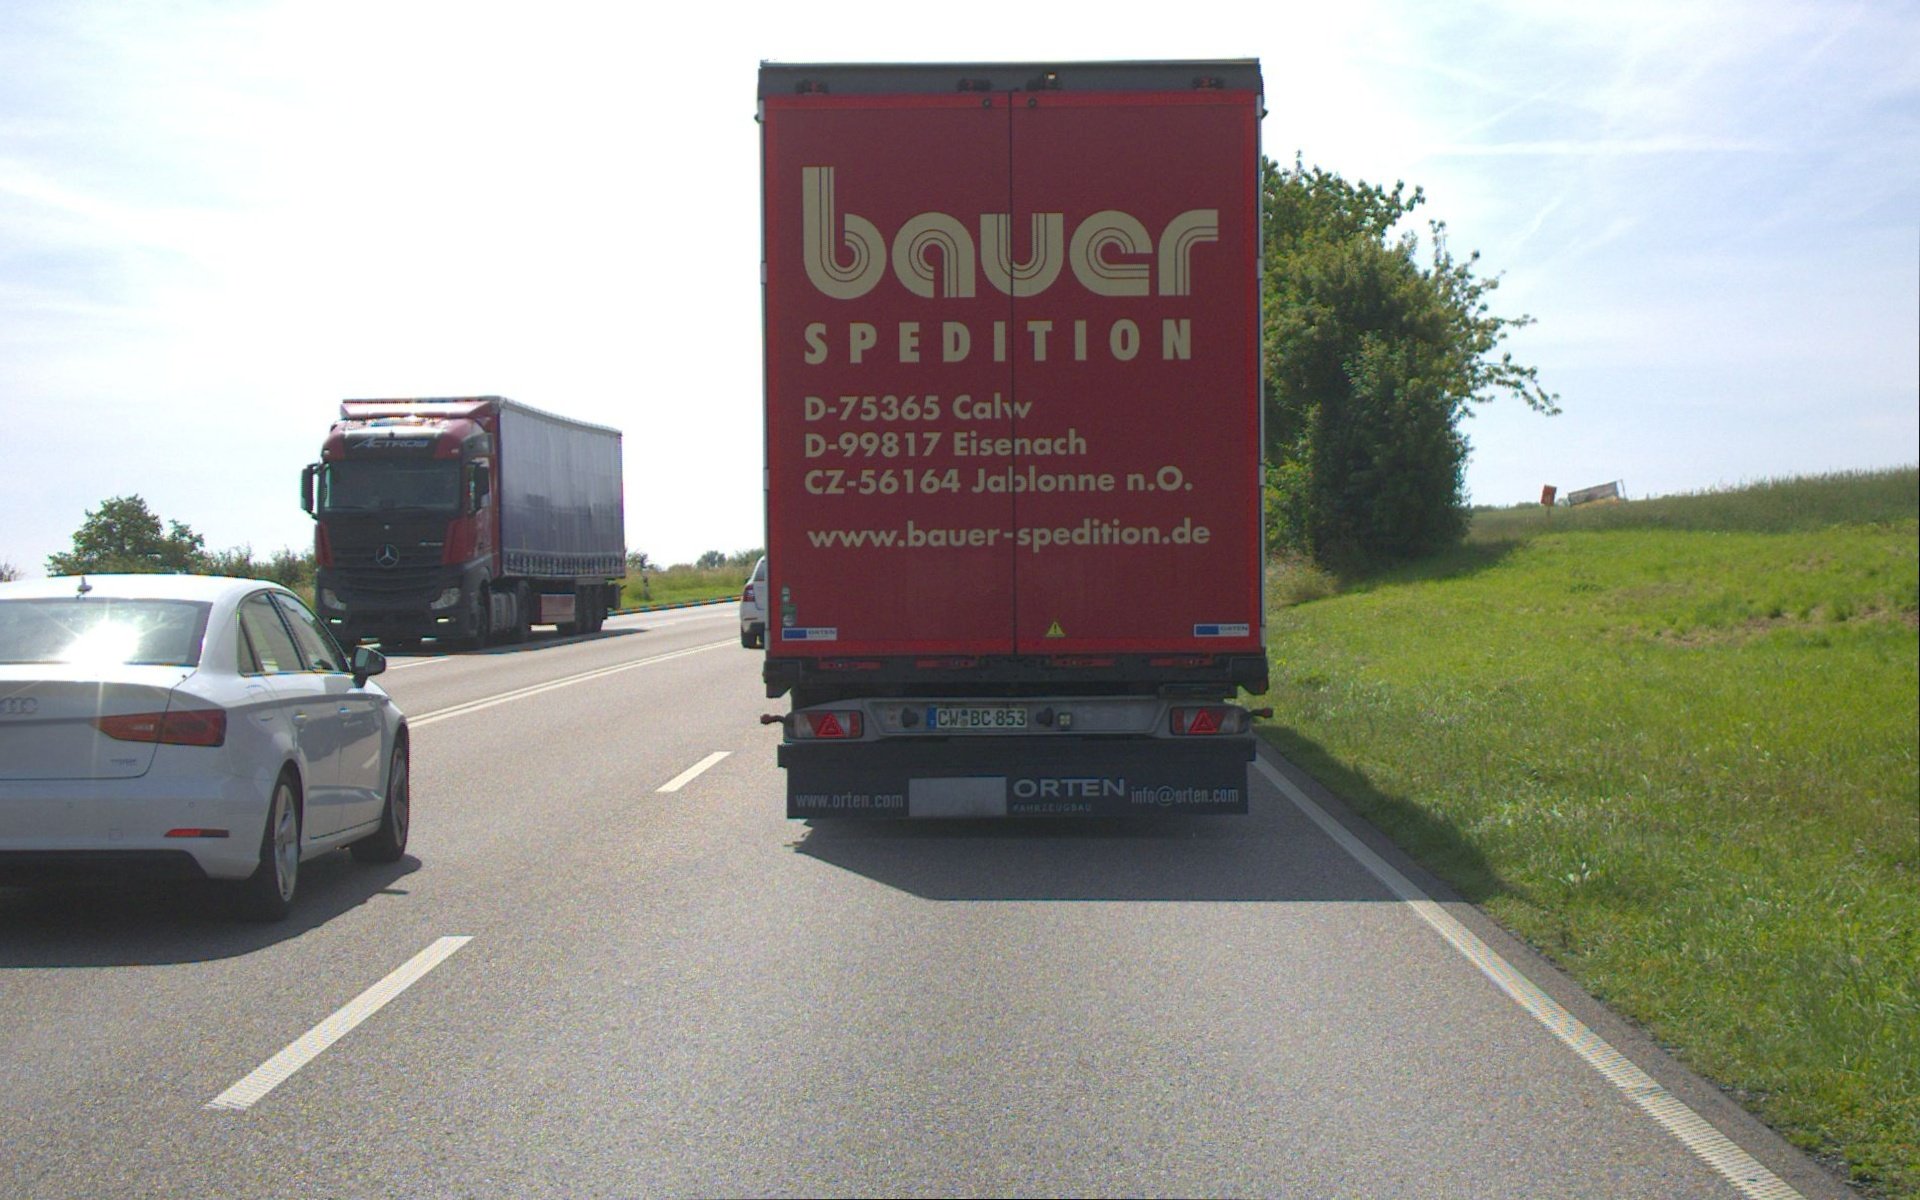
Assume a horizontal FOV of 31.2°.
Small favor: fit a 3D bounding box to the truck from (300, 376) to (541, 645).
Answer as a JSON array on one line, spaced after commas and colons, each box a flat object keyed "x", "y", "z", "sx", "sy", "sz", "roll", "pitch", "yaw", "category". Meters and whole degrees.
[{"x": -8.712, "y": -1.438, "z": 56.216, "sx": 2.617, "sy": 4.087, "sz": 6.088, "roll": -1, "pitch": 1, "yaw": 3, "category": "truck"}]

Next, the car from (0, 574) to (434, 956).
[{"x": -3.528, "y": 0.593, "z": 15.030, "sx": 1.703, "sy": 1.371, "sz": 4.603, "roll": 0, "pitch": 1, "yaw": 1, "category": "car"}]

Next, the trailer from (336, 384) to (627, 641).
[{"x": -8.393, "y": -1.530, "z": 62.398, "sx": 2.545, "sy": 4.087, "sz": 13.582, "roll": -1, "pitch": 1, "yaw": 3, "category": "trailer"}]

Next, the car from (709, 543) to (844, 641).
[{"x": -2.859, "y": -0.163, "z": 54.384, "sx": 1.821, "sy": 1.467, "sz": 4.789, "roll": 1, "pitch": 1, "yaw": 1, "category": "car"}]

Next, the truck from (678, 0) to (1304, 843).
[{"x": 0.202, "y": -1.013, "z": 25.215, "sx": 3.007, "sy": 4.166, "sz": 16.714, "roll": 1, "pitch": 1, "yaw": 0, "category": "truck"}]
